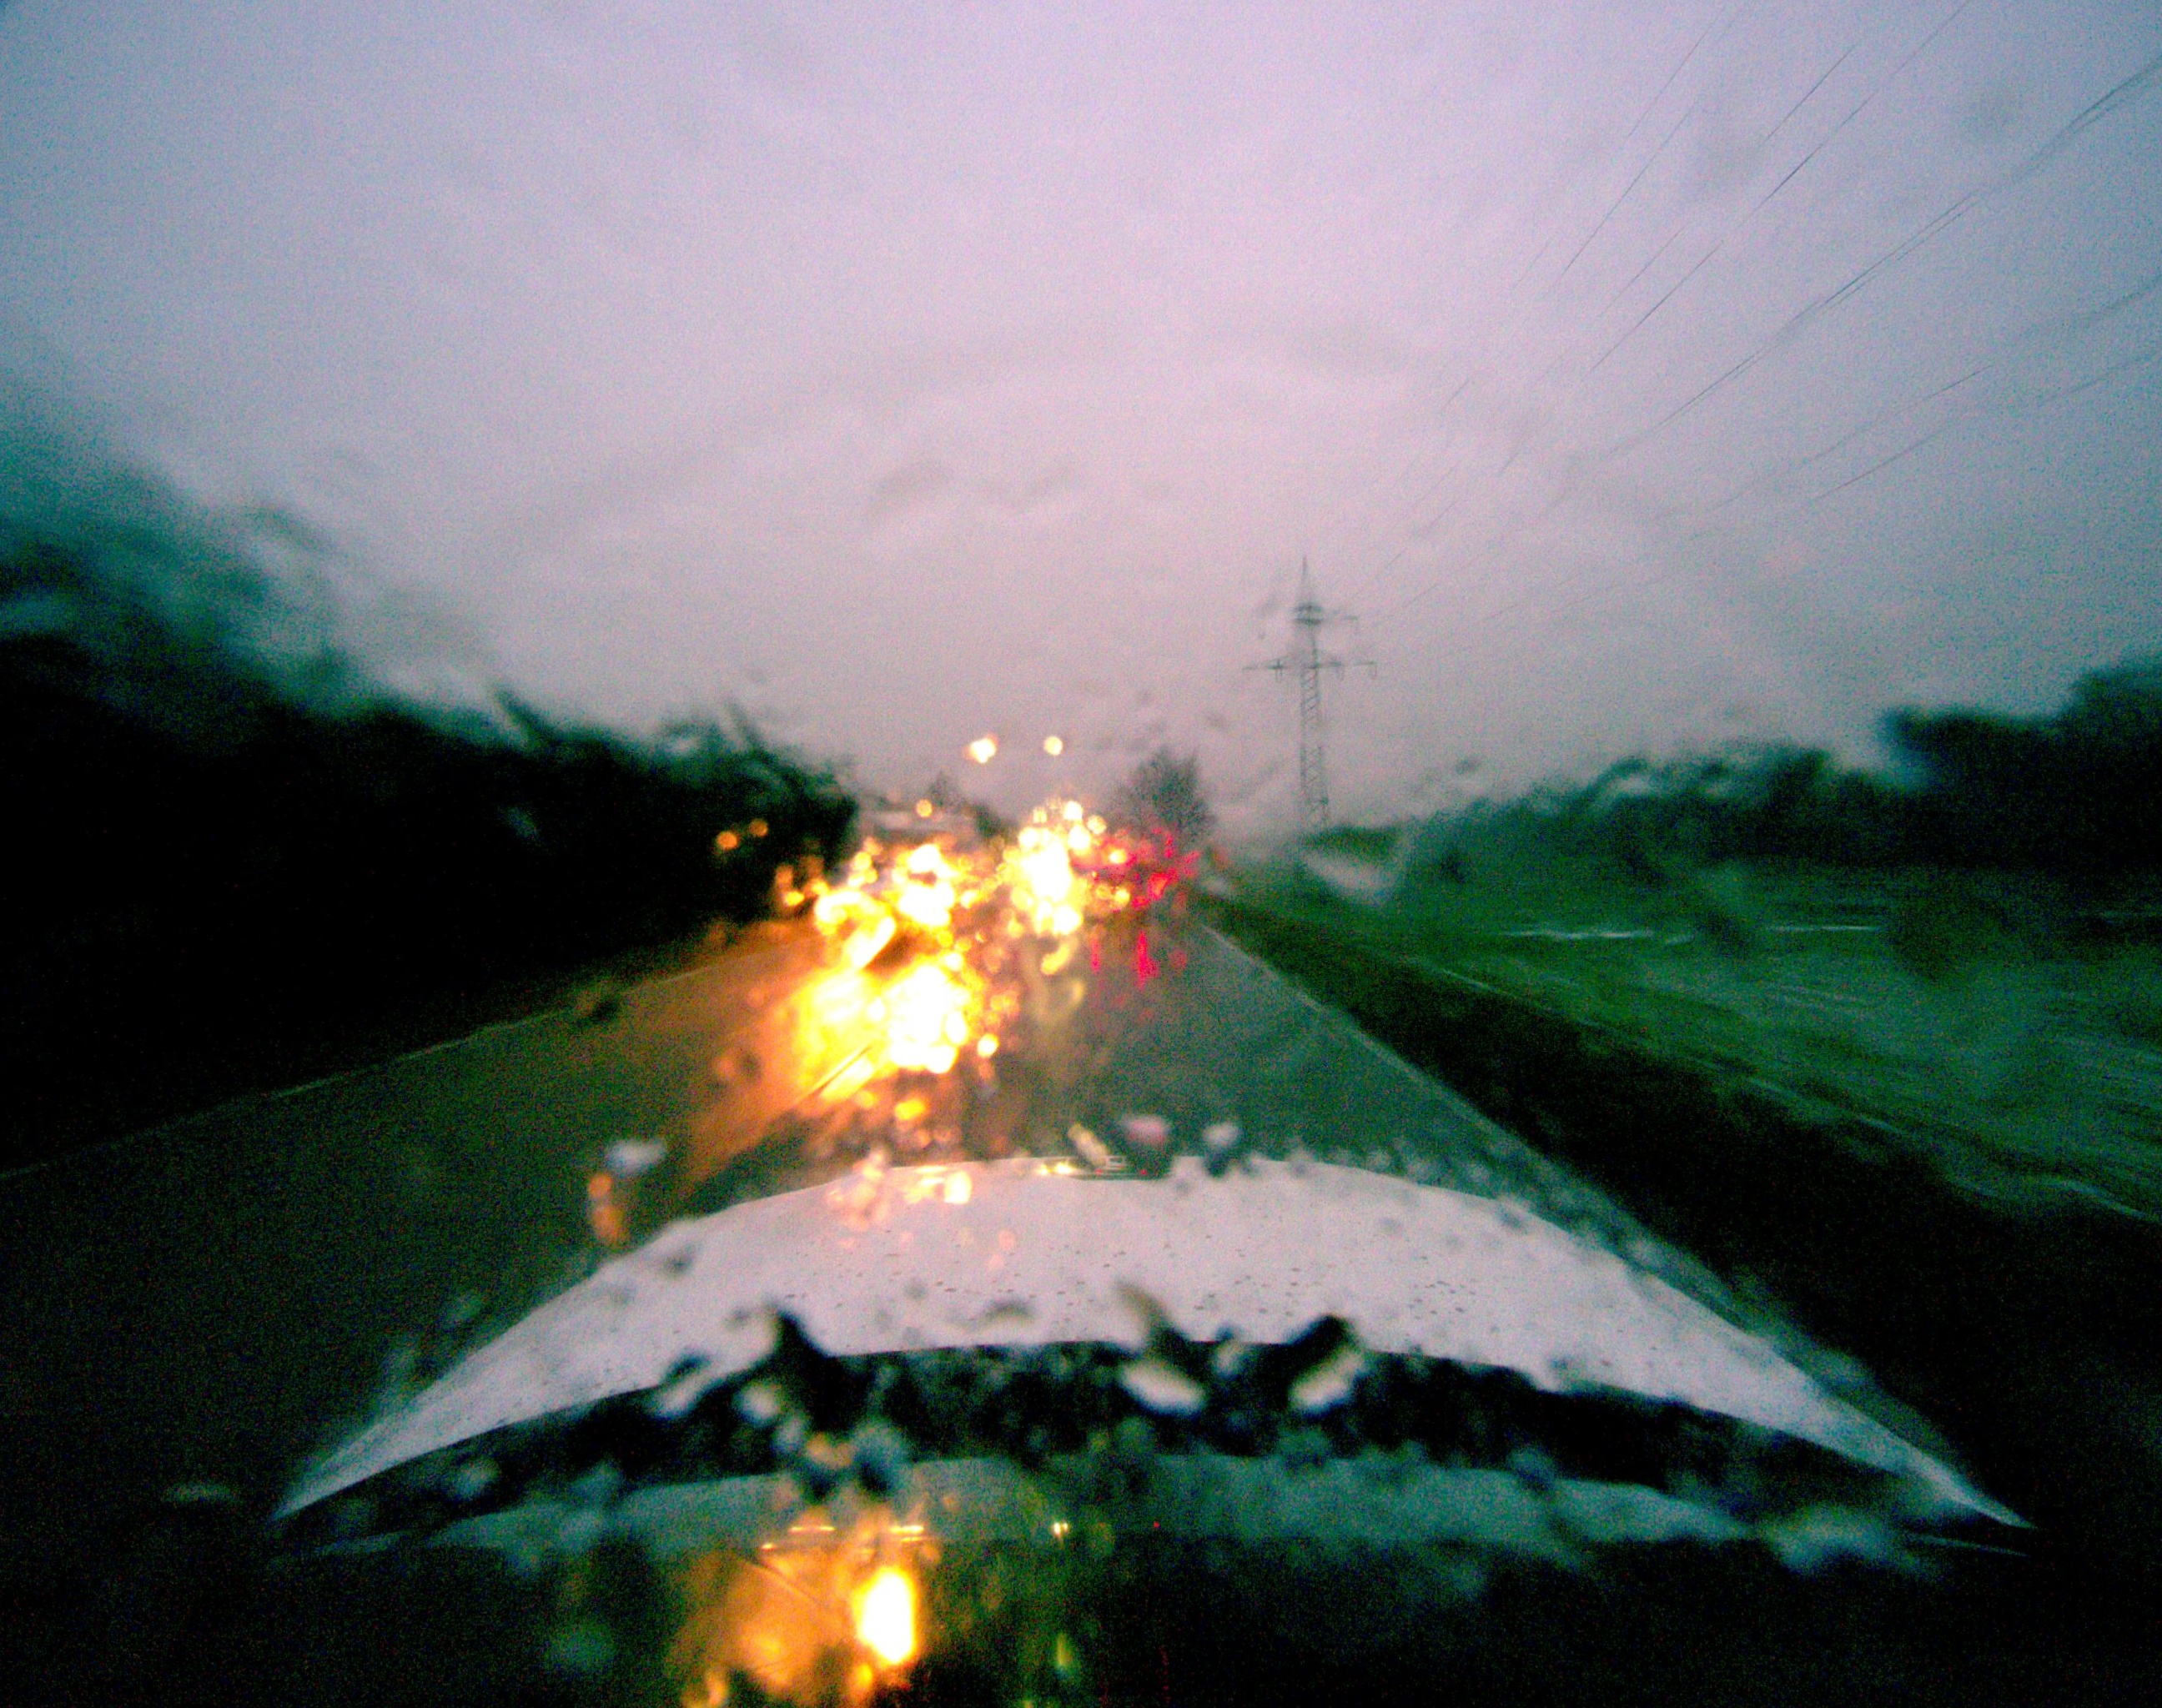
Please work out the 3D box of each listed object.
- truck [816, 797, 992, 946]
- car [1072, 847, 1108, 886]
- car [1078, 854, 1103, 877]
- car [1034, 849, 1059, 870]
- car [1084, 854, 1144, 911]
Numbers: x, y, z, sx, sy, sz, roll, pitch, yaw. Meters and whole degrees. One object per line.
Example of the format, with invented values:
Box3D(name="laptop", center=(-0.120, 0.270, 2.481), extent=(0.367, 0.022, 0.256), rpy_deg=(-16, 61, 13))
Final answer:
Box3D(name="truck", center=(-3.255, 0.303, 16.290), extent=(2.231, 2.467, 5.374), rpy_deg=(-1, 0, 1))
Box3D(name="car", center=(0.520, 0.667, 44.814), extent=(1.845, 2.014, 4.002), rpy_deg=(-1, 0, 2))
Box3D(name="car", center=(0.693, 0.856, 63.547), extent=(1.857, 1.700, 4.467), rpy_deg=(-1, 0, 0))
Box3D(name="car", center=(-2.949, 0.451, 70.534), extent=(1.779, 1.750, 4.259), rpy_deg=(-2, 0, 2))
Box3D(name="car", center=(0.885, 0.724, 22.063), extent=(1.494, 1.398, 3.201), rpy_deg=(-1, 0, 2))
